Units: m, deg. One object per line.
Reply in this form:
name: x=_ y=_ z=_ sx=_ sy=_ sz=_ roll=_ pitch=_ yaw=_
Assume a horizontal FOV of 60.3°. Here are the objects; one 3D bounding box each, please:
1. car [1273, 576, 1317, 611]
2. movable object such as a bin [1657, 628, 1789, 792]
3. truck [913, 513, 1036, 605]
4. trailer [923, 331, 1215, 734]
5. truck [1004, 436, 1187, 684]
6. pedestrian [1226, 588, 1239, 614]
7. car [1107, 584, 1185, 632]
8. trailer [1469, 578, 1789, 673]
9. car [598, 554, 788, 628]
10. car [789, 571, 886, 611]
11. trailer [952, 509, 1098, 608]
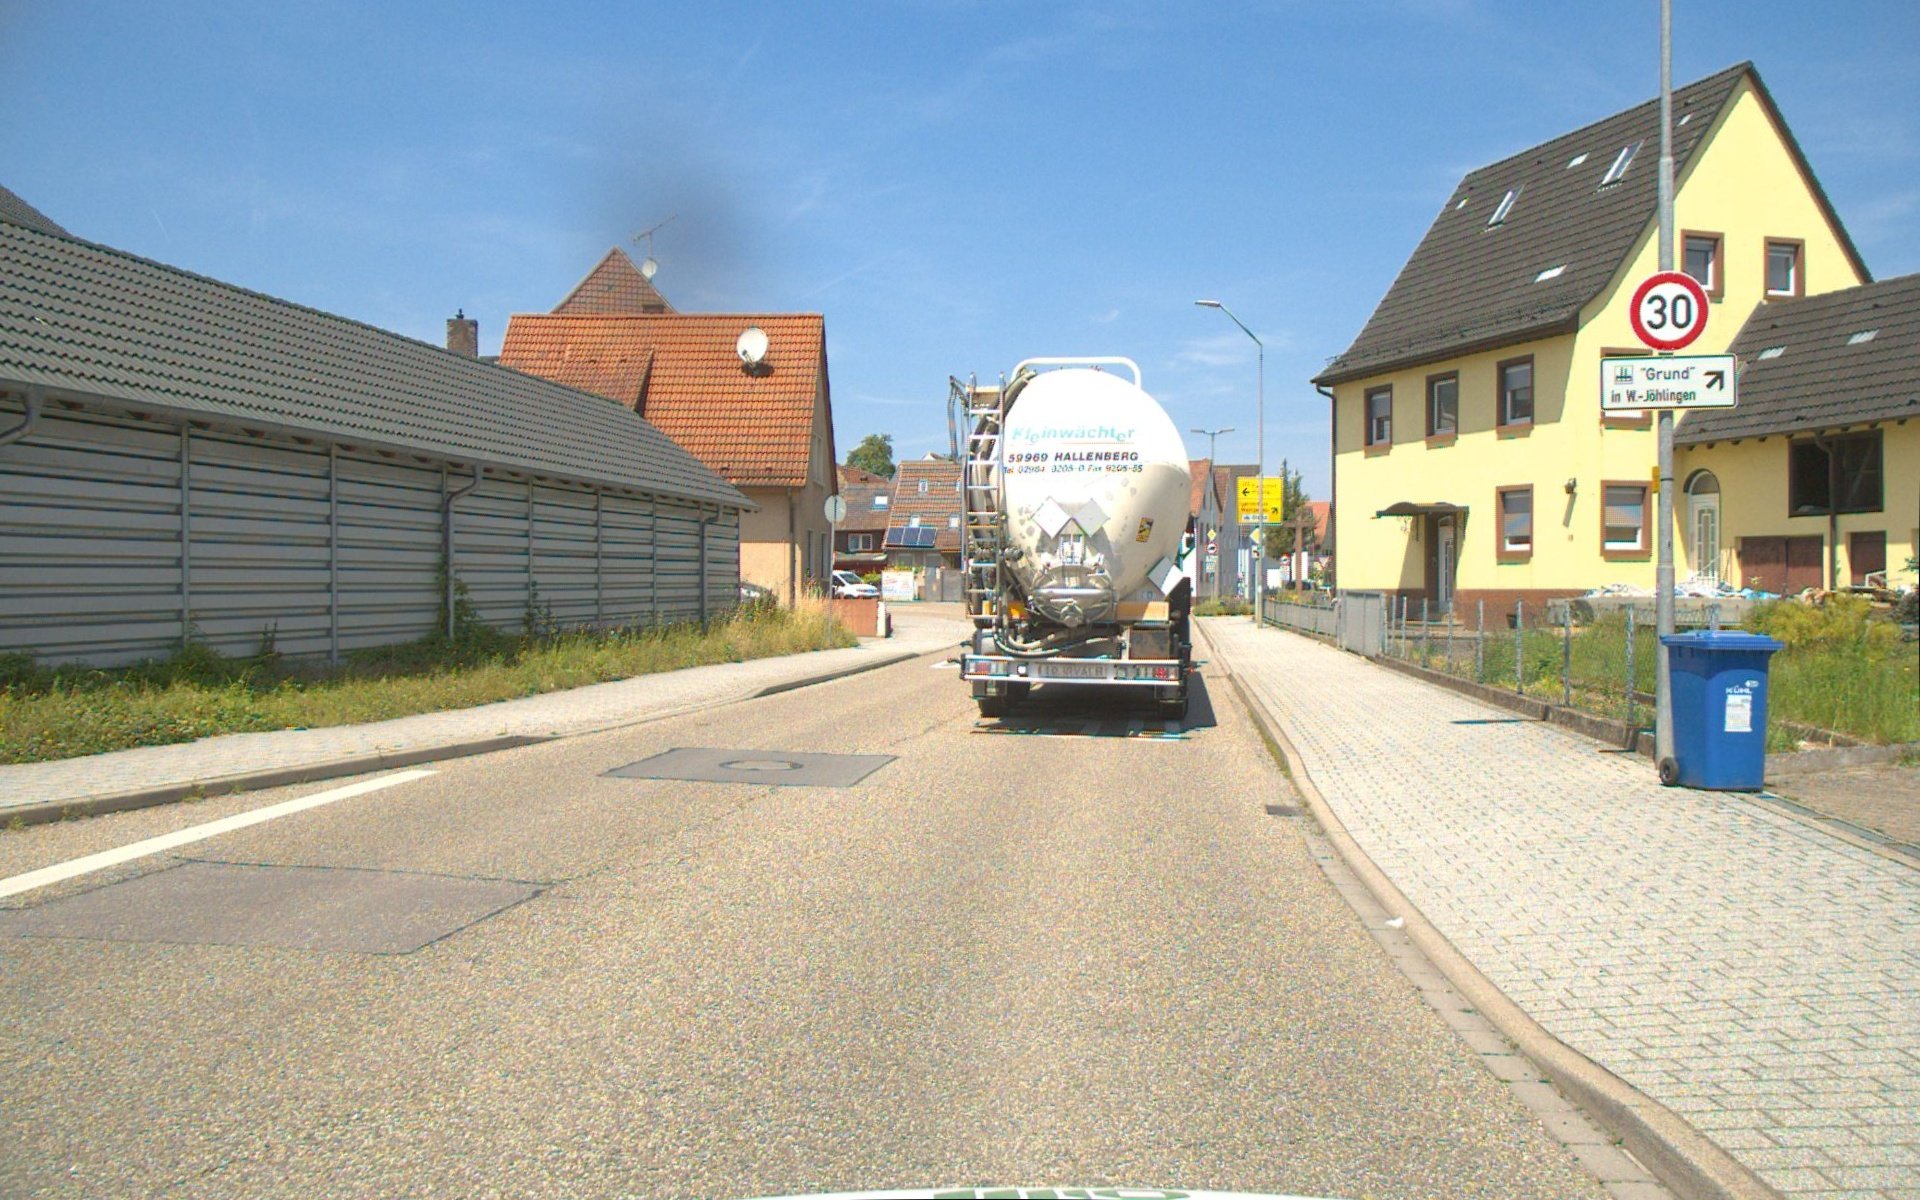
car: x=19.910 y=-0.352 z=98.130 sx=1.952 sy=1.946 sz=4.325 roll=1 pitch=-1 yaw=19
movable object such as a bin: x=5.255 y=0.742 z=11.414 sx=0.554 sy=1.076 sz=0.650 roll=0 pitch=0 yaw=-8
truck: x=0.697 y=-2.018 z=83.975 sx=3.090 sy=4.478 sz=5.842 roll=1 pitch=0 yaw=-43
trailer: x=1.709 y=-0.690 z=22.405 sx=2.890 sy=4.017 sz=11.626 roll=1 pitch=0 yaw=6
truck: x=2.580 y=-0.669 z=29.805 sx=2.924 sy=4.034 sz=5.583 roll=1 pitch=0 yaw=8
pedestrian: x=21.920 y=0.061 z=133.220 sx=0.754 sy=2.049 sz=0.975 roll=1 pitch=0 yaw=28
car: x=6.150 y=0.248 z=55.056 sx=1.806 sy=1.512 sz=3.996 roll=0 pitch=0 yaw=-5
trailer: x=11.826 y=0.442 z=29.241 sx=5.271 sy=1.573 sz=2.125 roll=1 pitch=0 yaw=-22
car: x=-6.272 y=-0.203 z=39.137 sx=4.036 sy=1.666 sz=1.867 roll=-1 pitch=0 yaw=9
car: x=-5.964 y=-0.470 z=80.359 sx=4.422 sy=1.816 sz=1.877 roll=1 pitch=2 yaw=29
trailer: x=2.874 y=-1.840 z=79.164 sx=3.082 sy=4.352 sz=12.437 roll=1 pitch=0 yaw=-17
